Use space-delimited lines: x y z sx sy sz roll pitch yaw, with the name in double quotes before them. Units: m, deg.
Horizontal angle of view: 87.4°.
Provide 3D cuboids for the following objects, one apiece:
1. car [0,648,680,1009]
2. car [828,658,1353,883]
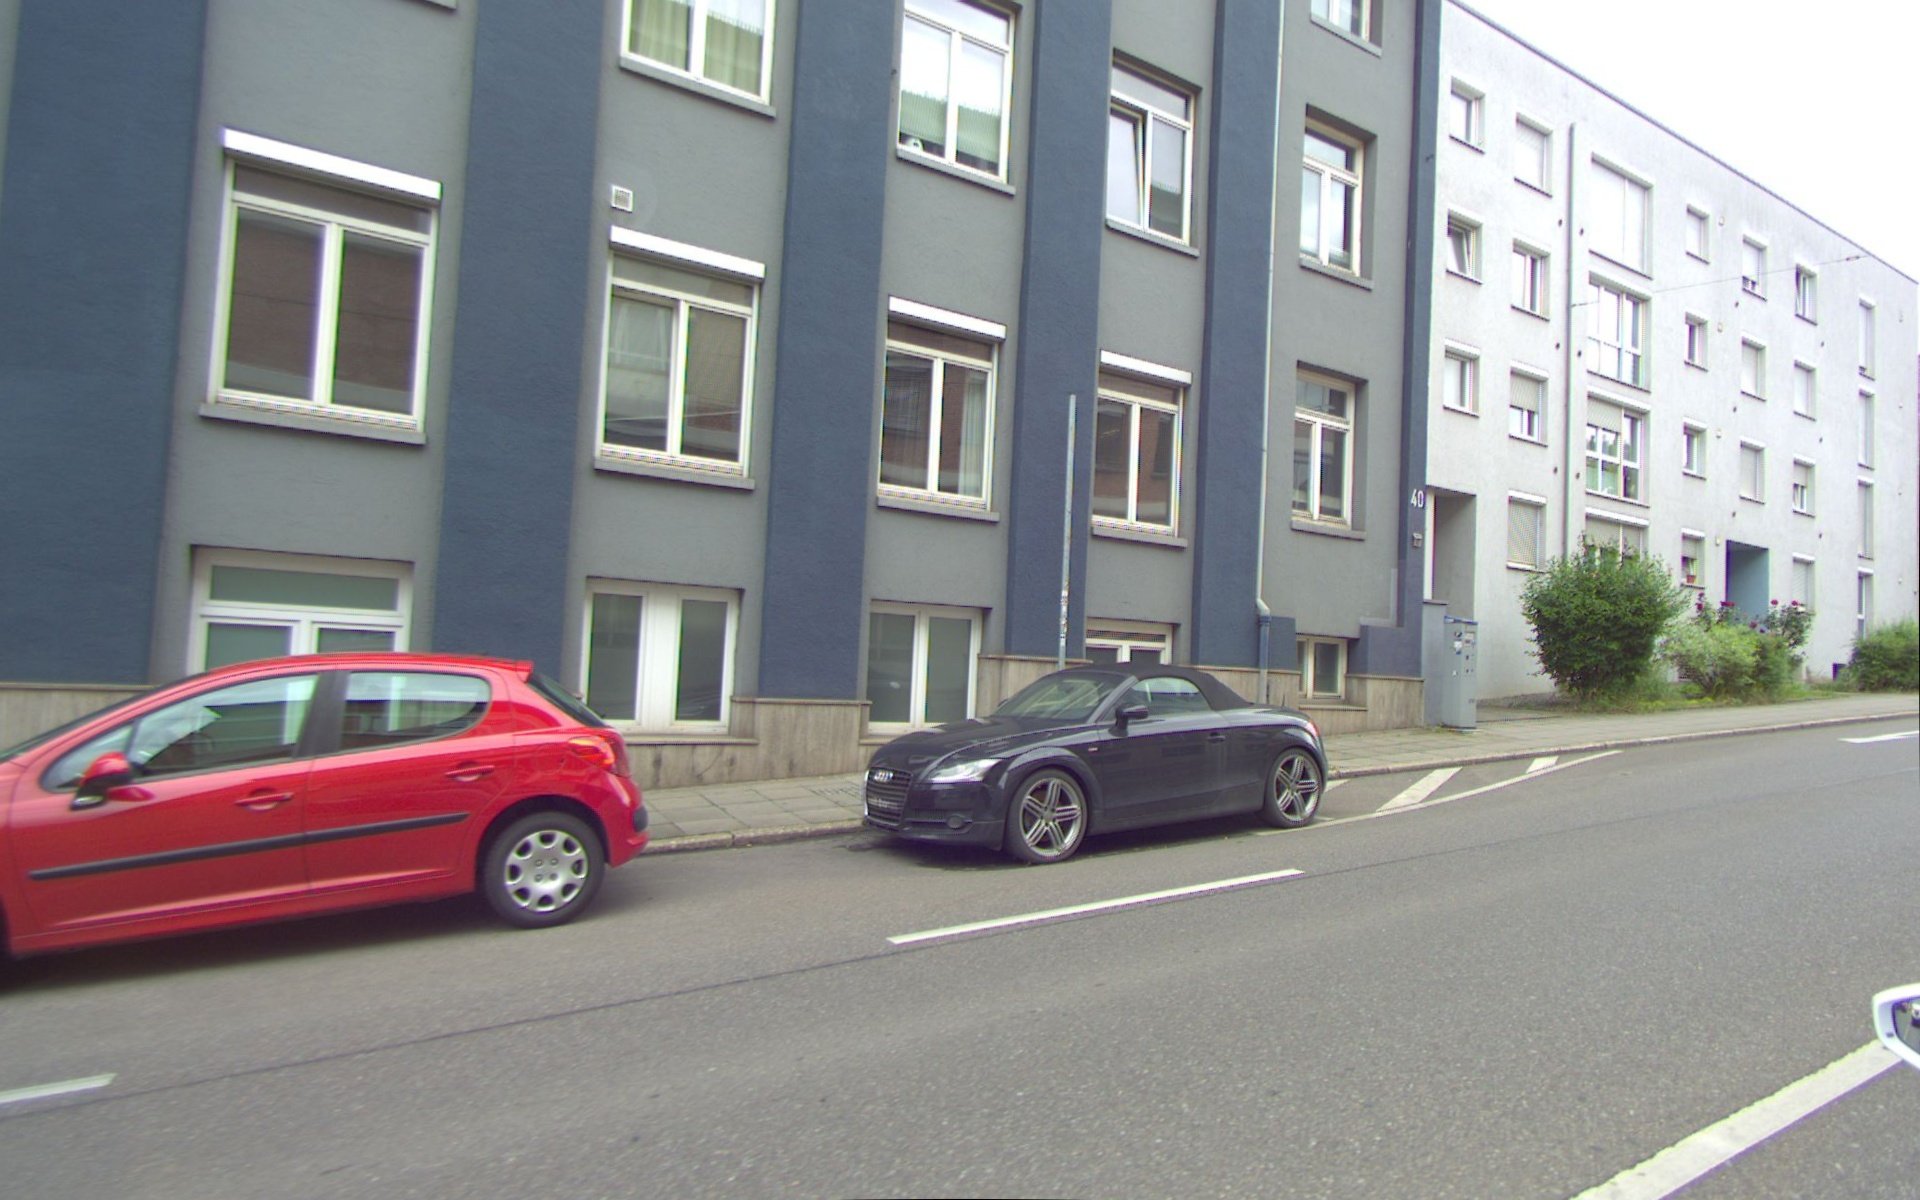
"car" -3.661 1.055 5.521 3.820 1.493 1.809 1 -4 -28
"car" 1.124 1.187 8.090 3.995 1.344 1.712 1 -4 -31
